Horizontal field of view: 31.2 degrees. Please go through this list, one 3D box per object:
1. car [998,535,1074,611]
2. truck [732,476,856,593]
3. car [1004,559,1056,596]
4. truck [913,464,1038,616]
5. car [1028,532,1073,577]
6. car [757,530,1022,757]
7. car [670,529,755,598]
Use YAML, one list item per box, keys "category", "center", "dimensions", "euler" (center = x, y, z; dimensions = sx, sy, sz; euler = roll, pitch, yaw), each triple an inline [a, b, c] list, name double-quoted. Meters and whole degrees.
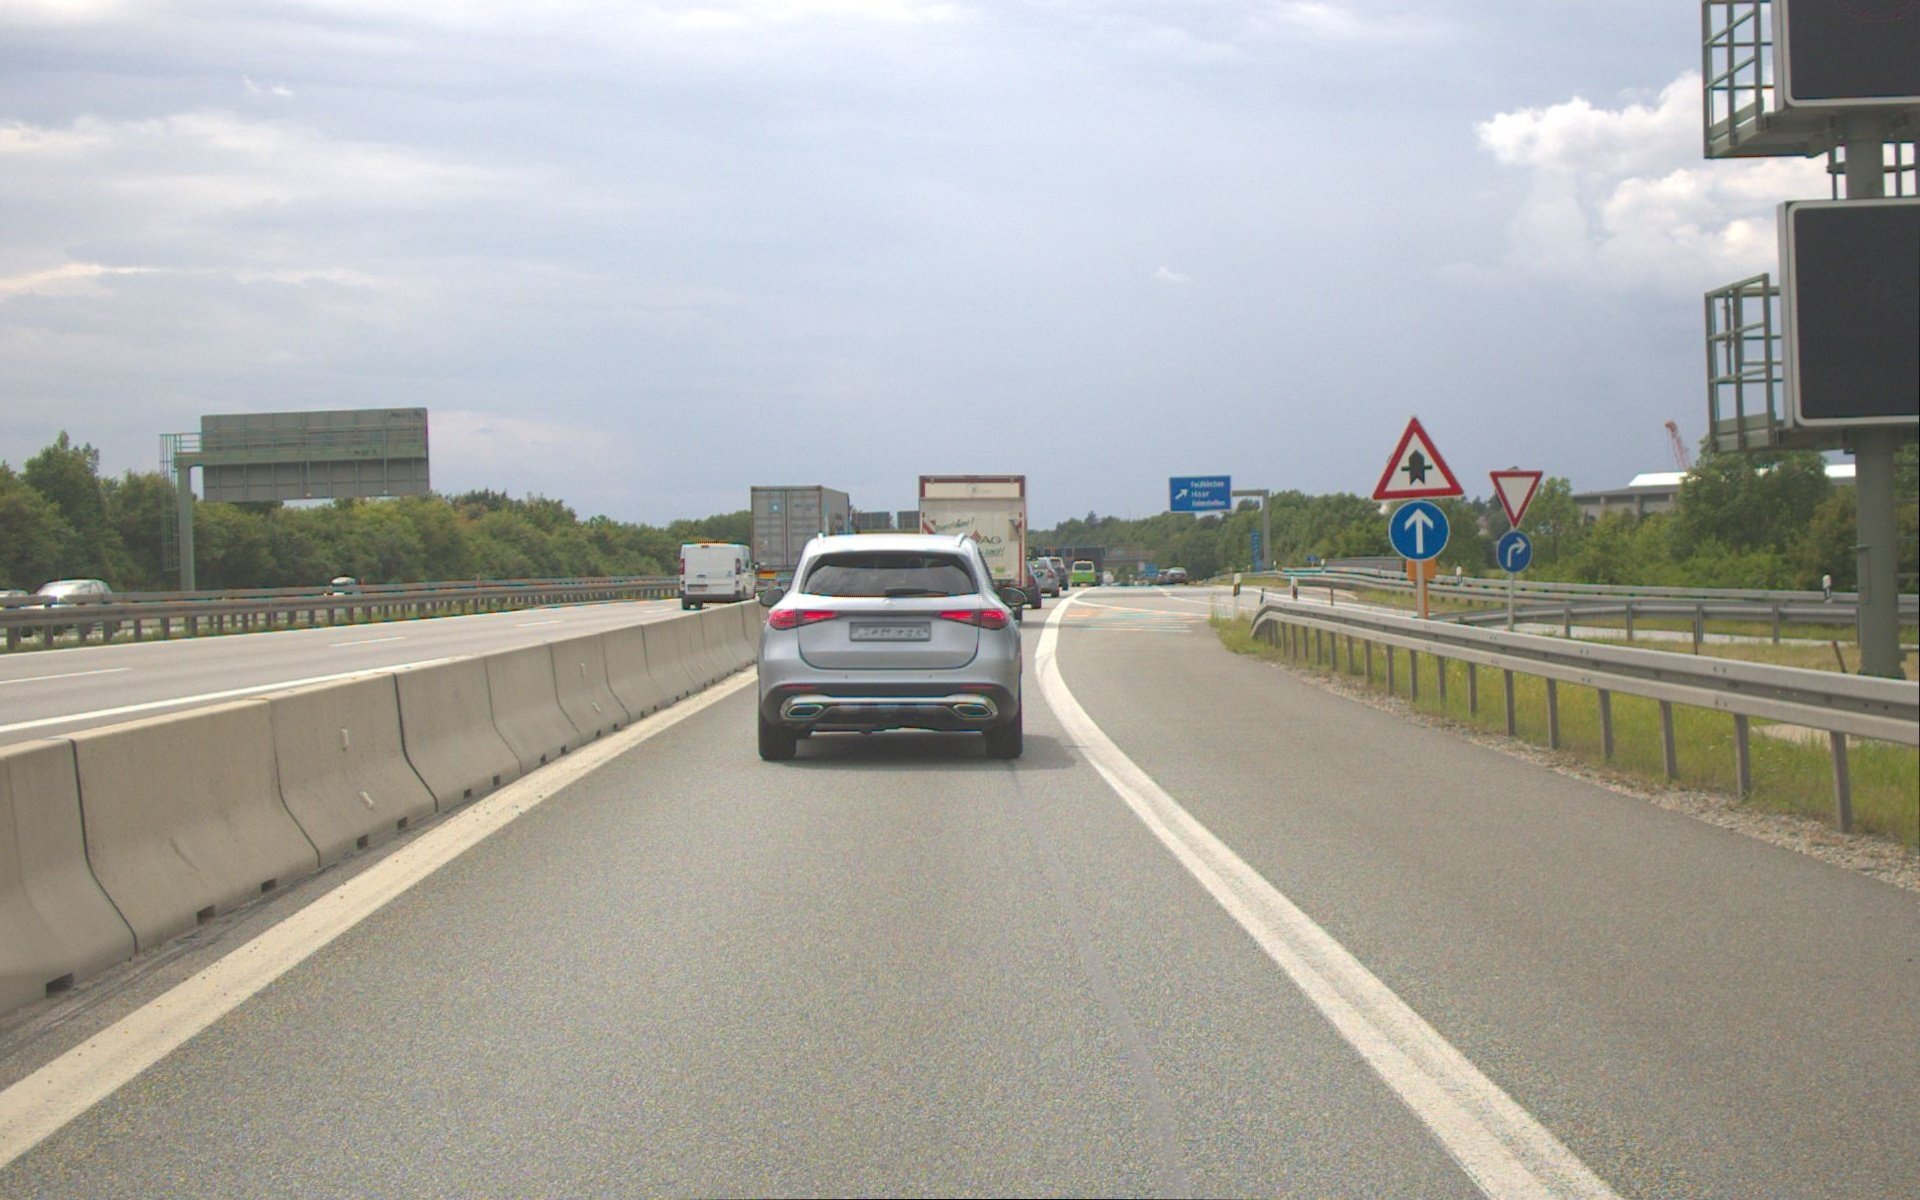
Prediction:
- category: "car"
  center: [2.123, -0.759, 95.427]
  dimensions: [1.994, 2.006, 4.000]
  euler: [0, 2, 3]
- category: "truck"
  center: [-5.901, -2.493, 125.422]
  dimensions: [3.183, 4.005, 16.075]
  euler: [0, 2, 2]
- category: "car"
  center: [2.544, -0.814, 124.230]
  dimensions: [1.696, 1.284, 4.000]
  euler: [0, 1, 4]
- category: "truck"
  center: [0.416, -1.271, 74.939]
  dimensions: [2.569, 3.115, 8.634]
  euler: [0, 1, 1]
- category: "car"
  center: [4.274, -2.154, 162.007]
  dimensions: [1.994, 2.006, 4.374]
  euler: [0, 2, 3]
- category: "car"
  center: [-0.449, 0.258, 25.627]
  dimensions: [1.819, 1.509, 4.000]
  euler: [0, 2, 1]
- category: "car"
  center: [-7.430, -1.121, 103.542]
  dimensions: [1.994, 2.006, 4.374]
  euler: [0, 2, 3]
